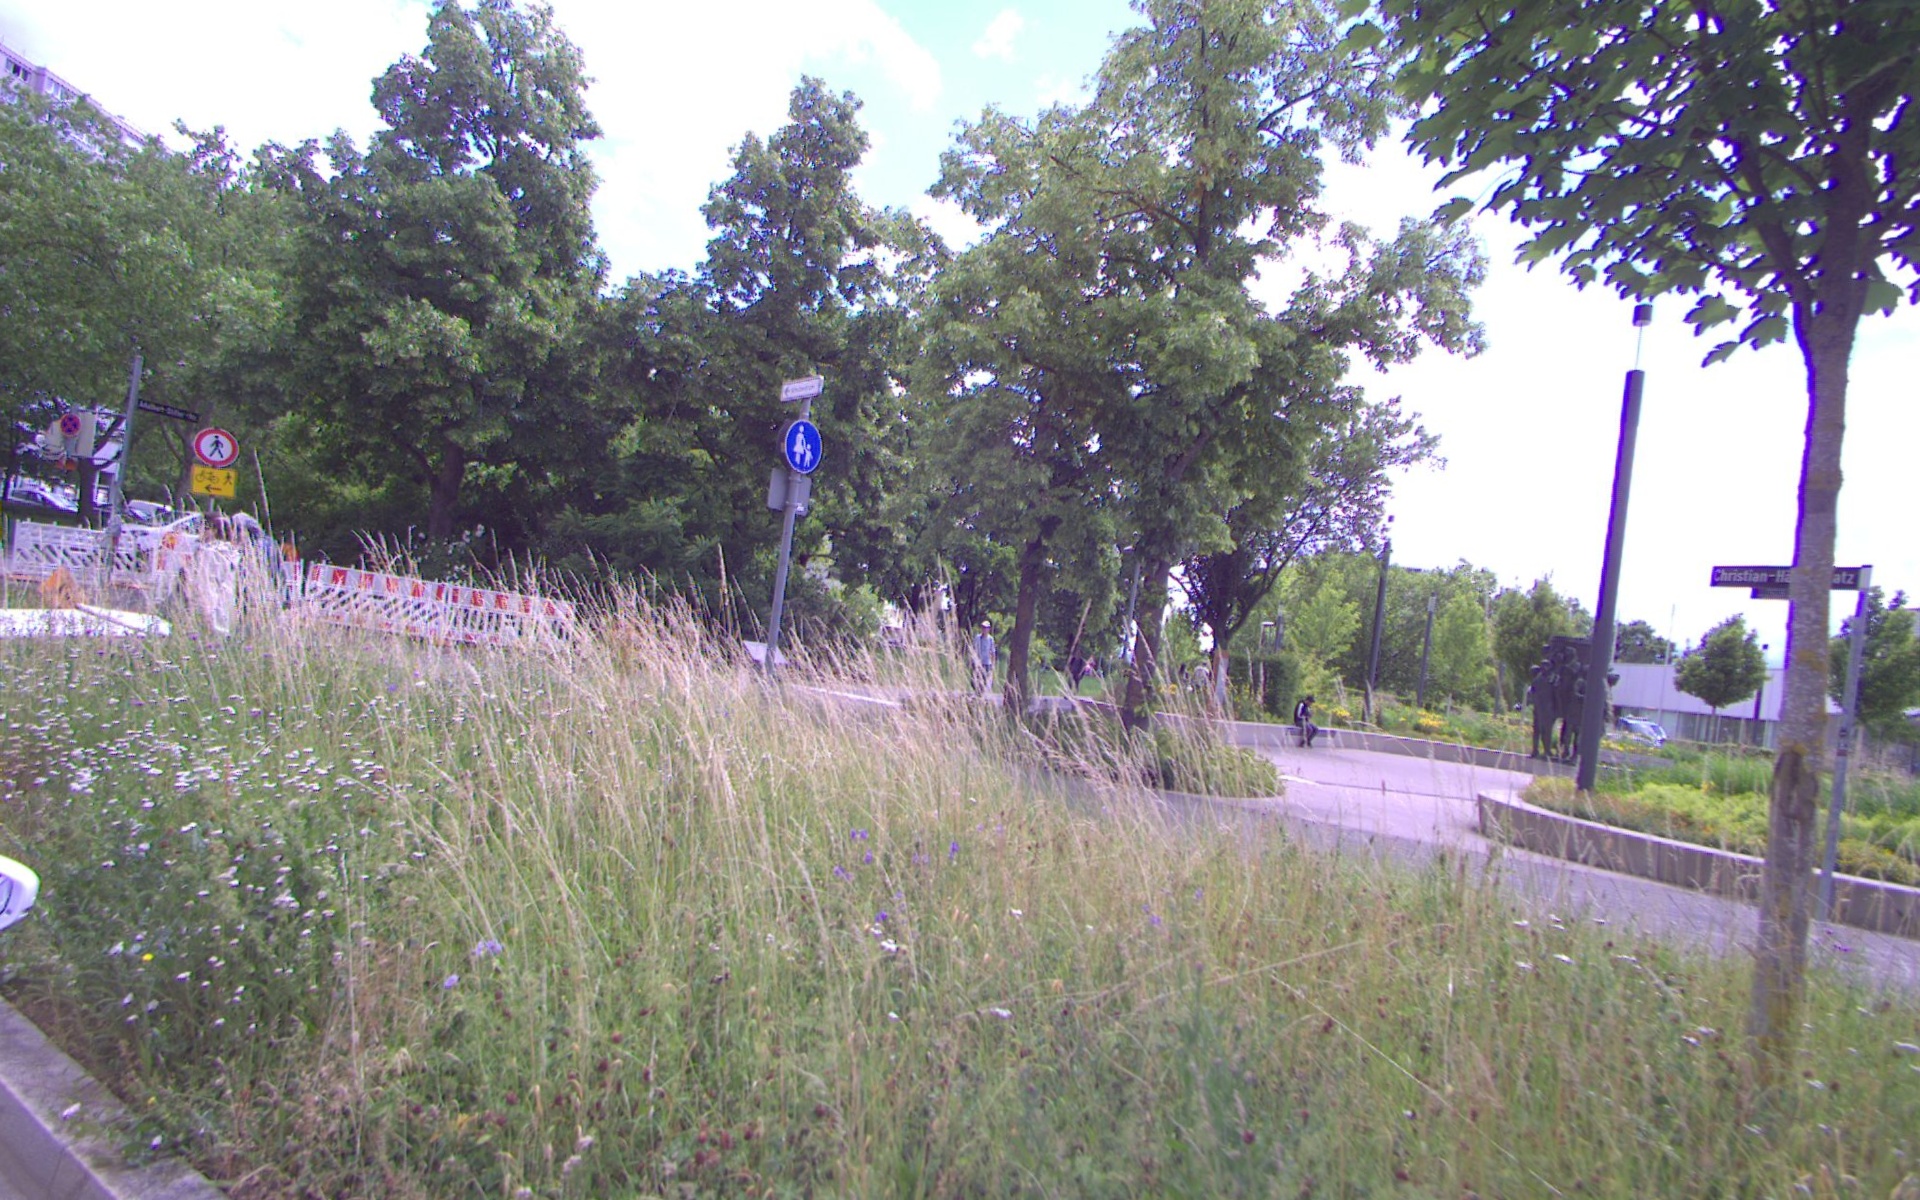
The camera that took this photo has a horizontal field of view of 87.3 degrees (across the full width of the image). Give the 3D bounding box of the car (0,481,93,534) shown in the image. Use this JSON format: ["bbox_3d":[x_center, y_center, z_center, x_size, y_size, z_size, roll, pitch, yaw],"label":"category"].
[{"bbox_3d":[-46.145,-4.663,50.113,3.926,2.037,2.001,8,-1,0],"label":"car"}]

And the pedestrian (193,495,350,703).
[{"bbox_3d":[-6.016,0.002,8.852,0.861,1.653,0.761,8,-1,-26],"label":"pedestrian"}]

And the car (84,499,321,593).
[{"bbox_3d":[-22.029,-1.505,29.542,1.915,1.895,5.090,7,-2,28],"label":"car"}]

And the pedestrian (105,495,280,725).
[{"bbox_3d":[-6.073,0.086,8.017,0.815,1.659,0.728,8,-1,-27],"label":"pedestrian"}]

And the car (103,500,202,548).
[{"bbox_3d":[-46.698,-4.381,58.232,3.926,2.037,2.001,8,-1,0],"label":"car"}]

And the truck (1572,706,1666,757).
[{"bbox_3d":[34.944,6.936,53.478,1.964,2.037,3.999,8,-1,-4],"label":"truck"}]

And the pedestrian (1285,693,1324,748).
[{"bbox_3d":[8.448,2.946,24.663,0.623,1.236,0.618,7,-1,36],"label":"pedestrian"}]

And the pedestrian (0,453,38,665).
[{"bbox_3d":[-8.733,-0.426,8.471,0.995,1.795,0.948,7,-1,25],"label":"pedestrian"}]

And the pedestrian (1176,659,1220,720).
[{"bbox_3d":[8.638,3.240,36.494,1.137,2.037,0.817,7,-1,30],"label":"pedestrian"}]

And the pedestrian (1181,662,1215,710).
[{"bbox_3d":[9.309,3.370,39.318,0.879,1.732,0.817,7,-1,30],"label":"pedestrian"}]

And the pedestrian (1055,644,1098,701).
[{"bbox_3d":[3.622,2.267,31.303,0.879,1.647,0.817,7,-1,30],"label":"pedestrian"}]

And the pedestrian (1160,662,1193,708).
[{"bbox_3d":[8.615,3.377,39.958,0.873,1.681,0.817,7,-1,30],"label":"pedestrian"}]

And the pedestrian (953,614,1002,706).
[{"bbox_3d":[0.379,1.298,21.743,0.757,1.862,0.765,7,-1,8],"label":"pedestrian"}]
